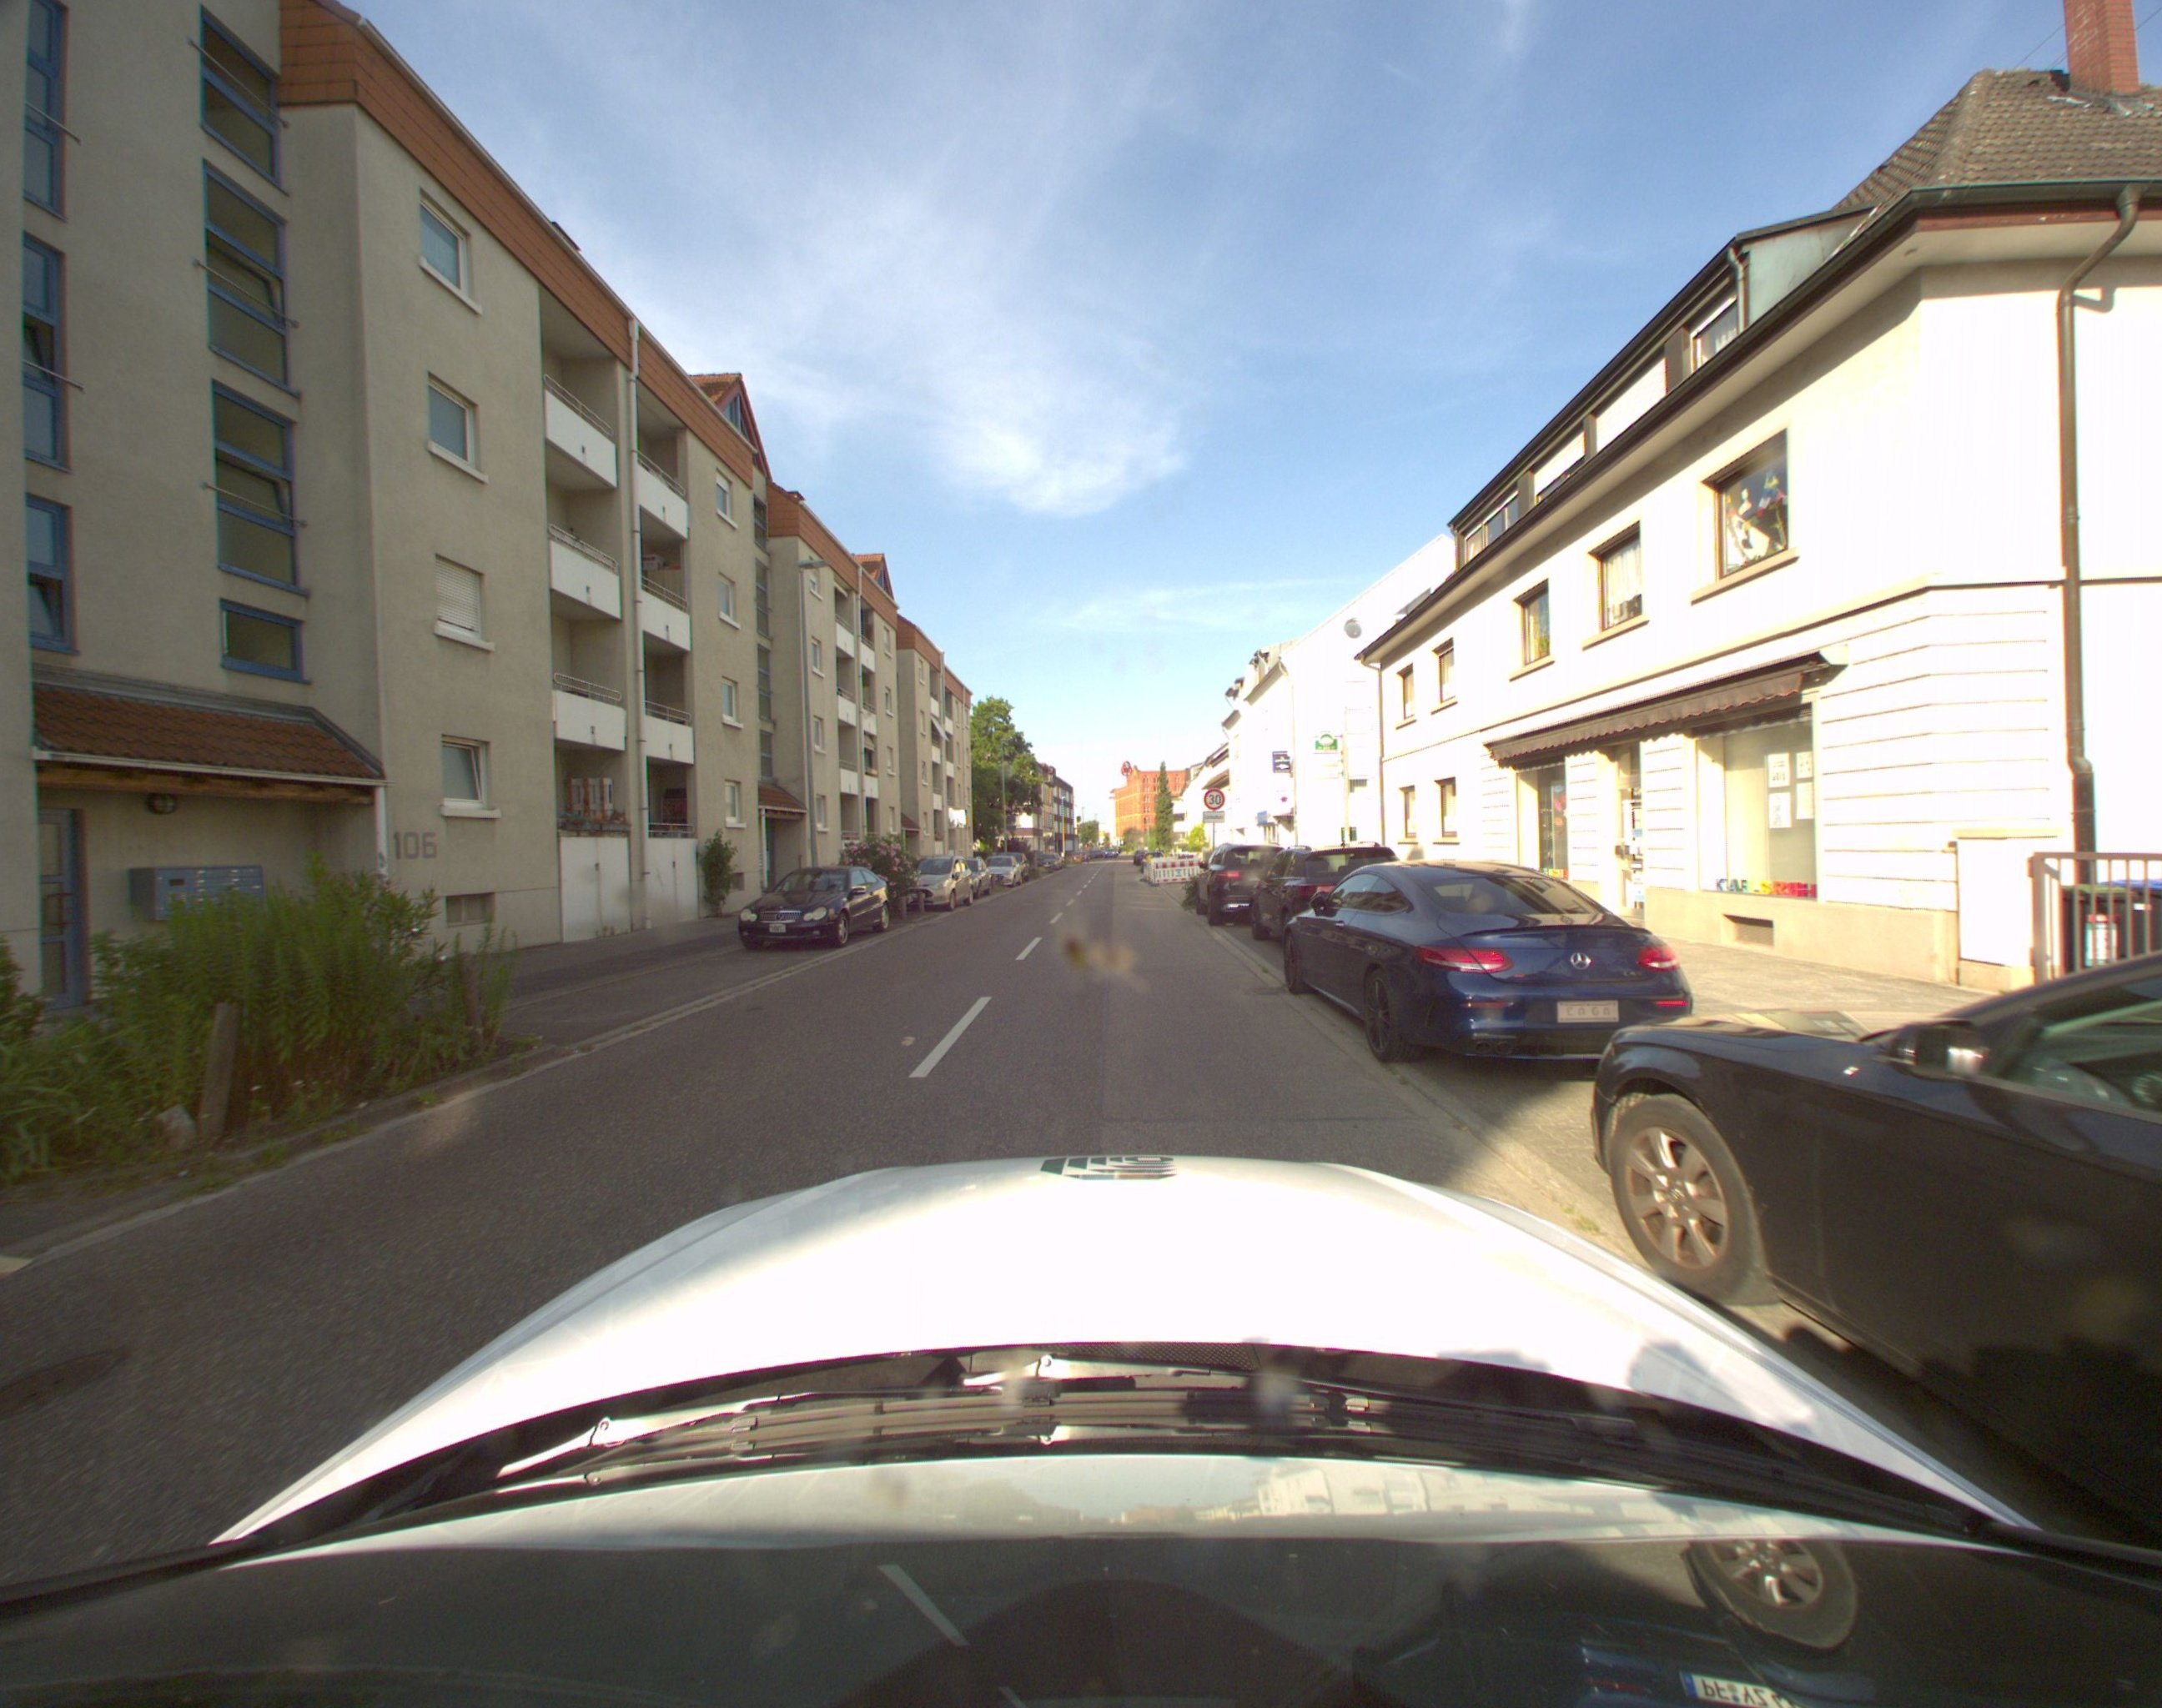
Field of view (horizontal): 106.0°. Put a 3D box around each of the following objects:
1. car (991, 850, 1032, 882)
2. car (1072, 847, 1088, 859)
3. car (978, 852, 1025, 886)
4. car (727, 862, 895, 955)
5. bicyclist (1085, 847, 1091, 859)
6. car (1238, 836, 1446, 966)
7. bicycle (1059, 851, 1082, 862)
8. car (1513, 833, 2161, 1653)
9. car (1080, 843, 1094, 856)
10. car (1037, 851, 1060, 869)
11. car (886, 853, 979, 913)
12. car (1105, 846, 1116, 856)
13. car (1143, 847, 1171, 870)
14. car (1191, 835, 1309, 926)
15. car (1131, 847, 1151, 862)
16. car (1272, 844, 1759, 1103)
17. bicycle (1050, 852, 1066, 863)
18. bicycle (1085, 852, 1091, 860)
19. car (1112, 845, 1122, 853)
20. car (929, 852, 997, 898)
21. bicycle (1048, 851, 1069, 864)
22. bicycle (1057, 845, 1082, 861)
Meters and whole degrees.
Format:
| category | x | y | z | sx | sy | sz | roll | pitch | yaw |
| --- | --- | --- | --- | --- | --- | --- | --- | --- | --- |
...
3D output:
| category | x | y | z | sx | sy | sz | roll | pitch | yaw |
| --- | --- | --- | --- | --- | --- | --- | --- | --- | --- |
| car | -3.709 | 0.608 | 44.073 | 1.679 | 1.603 | 4.372 | -1 | 0 | 2 |
| car | -0.156 | -0.092 | 106.960 | 1.832 | 1.464 | 3.587 | -2 | 0 | 3 |
| car | -3.742 | 0.691 | 38.806 | 1.680 | 1.454 | 4.142 | -1 | 1 | 1 |
| car | -4.878 | 0.911 | 15.356 | 1.679 | 1.405 | 4.085 | -1 | 1 | 2 |
| bicyclist | 0.877 | -0.105 | 99.778 | 0.588 | 1.442 | 0.751 | -2 | 0 | 3 |
| car | 3.699 | 0.571 | 12.417 | 1.823 | 1.560 | 4.318 | -3 | 0 | 1 |
| bicycle | -1.255 | 0.305 | 99.116 | 2.761 | 1.144 | 1.144 | -2 | 0 | 3 |
| car | 2.788 | 0.686 | 1.404 | 1.773 | 1.420 | 4.498 | -2 | 1 | 1 |
| car | 0.948 | -0.747 | 133.088 | 1.985 | 1.881 | 4.003 | -2 | 0 | 3 |
| car | -2.710 | 0.465 | 68.580 | 1.567 | 1.420 | 3.806 | -1 | 1 | 2 |
| car | -4.252 | 0.779 | 23.967 | 1.719 | 1.555 | 3.970 | -1 | 1 | 4 |
| car | 5.020 | -0.483 | 138.077 | 1.756 | 1.616 | 4.003 | -3 | 0 | 2 |
| car | 5.323 | 0.312 | 57.316 | 1.822 | 1.482 | 3.947 | -3 | 1 | 3 |
| car | 3.500 | 0.484 | 17.623 | 1.822 | 1.630 | 4.468 | -3 | 0 | 4 |
| car | 5.973 | 0.009 | 81.529 | 1.852 | 1.472 | 4.002 | 0 | 1 | 2 |
| car | 3.000 | 0.652 | 6.921 | 1.822 | 1.420 | 4.612 | -2 | 1 | 3 |
| bicycle | -2.280 | 0.393 | 82.115 | 1.581 | 1.041 | 0.707 | -2 | 0 | -3 |
| bicycle | 0.896 | 0.266 | 99.775 | 0.606 | 0.942 | 1.813 | -2 | 1 | 4 |
| car | 7.318 | -1.020 | 165.500 | 1.756 | 1.616 | 4.003 | -3 | 0 | 2 |
| car | -4.329 | 0.712 | 30.420 | 1.801 | 1.521 | 4.371 | -1 | 1 | 1 |
| bicycle | -2.240 | 0.390 | 80.547 | 1.996 | 1.217 | 0.707 | -2 | 0 | -3 |
| bicycle | -1.358 | -0.104 | 97.344 | 2.905 | 1.777 | 1.203 | -2 | 0 | 3 |
